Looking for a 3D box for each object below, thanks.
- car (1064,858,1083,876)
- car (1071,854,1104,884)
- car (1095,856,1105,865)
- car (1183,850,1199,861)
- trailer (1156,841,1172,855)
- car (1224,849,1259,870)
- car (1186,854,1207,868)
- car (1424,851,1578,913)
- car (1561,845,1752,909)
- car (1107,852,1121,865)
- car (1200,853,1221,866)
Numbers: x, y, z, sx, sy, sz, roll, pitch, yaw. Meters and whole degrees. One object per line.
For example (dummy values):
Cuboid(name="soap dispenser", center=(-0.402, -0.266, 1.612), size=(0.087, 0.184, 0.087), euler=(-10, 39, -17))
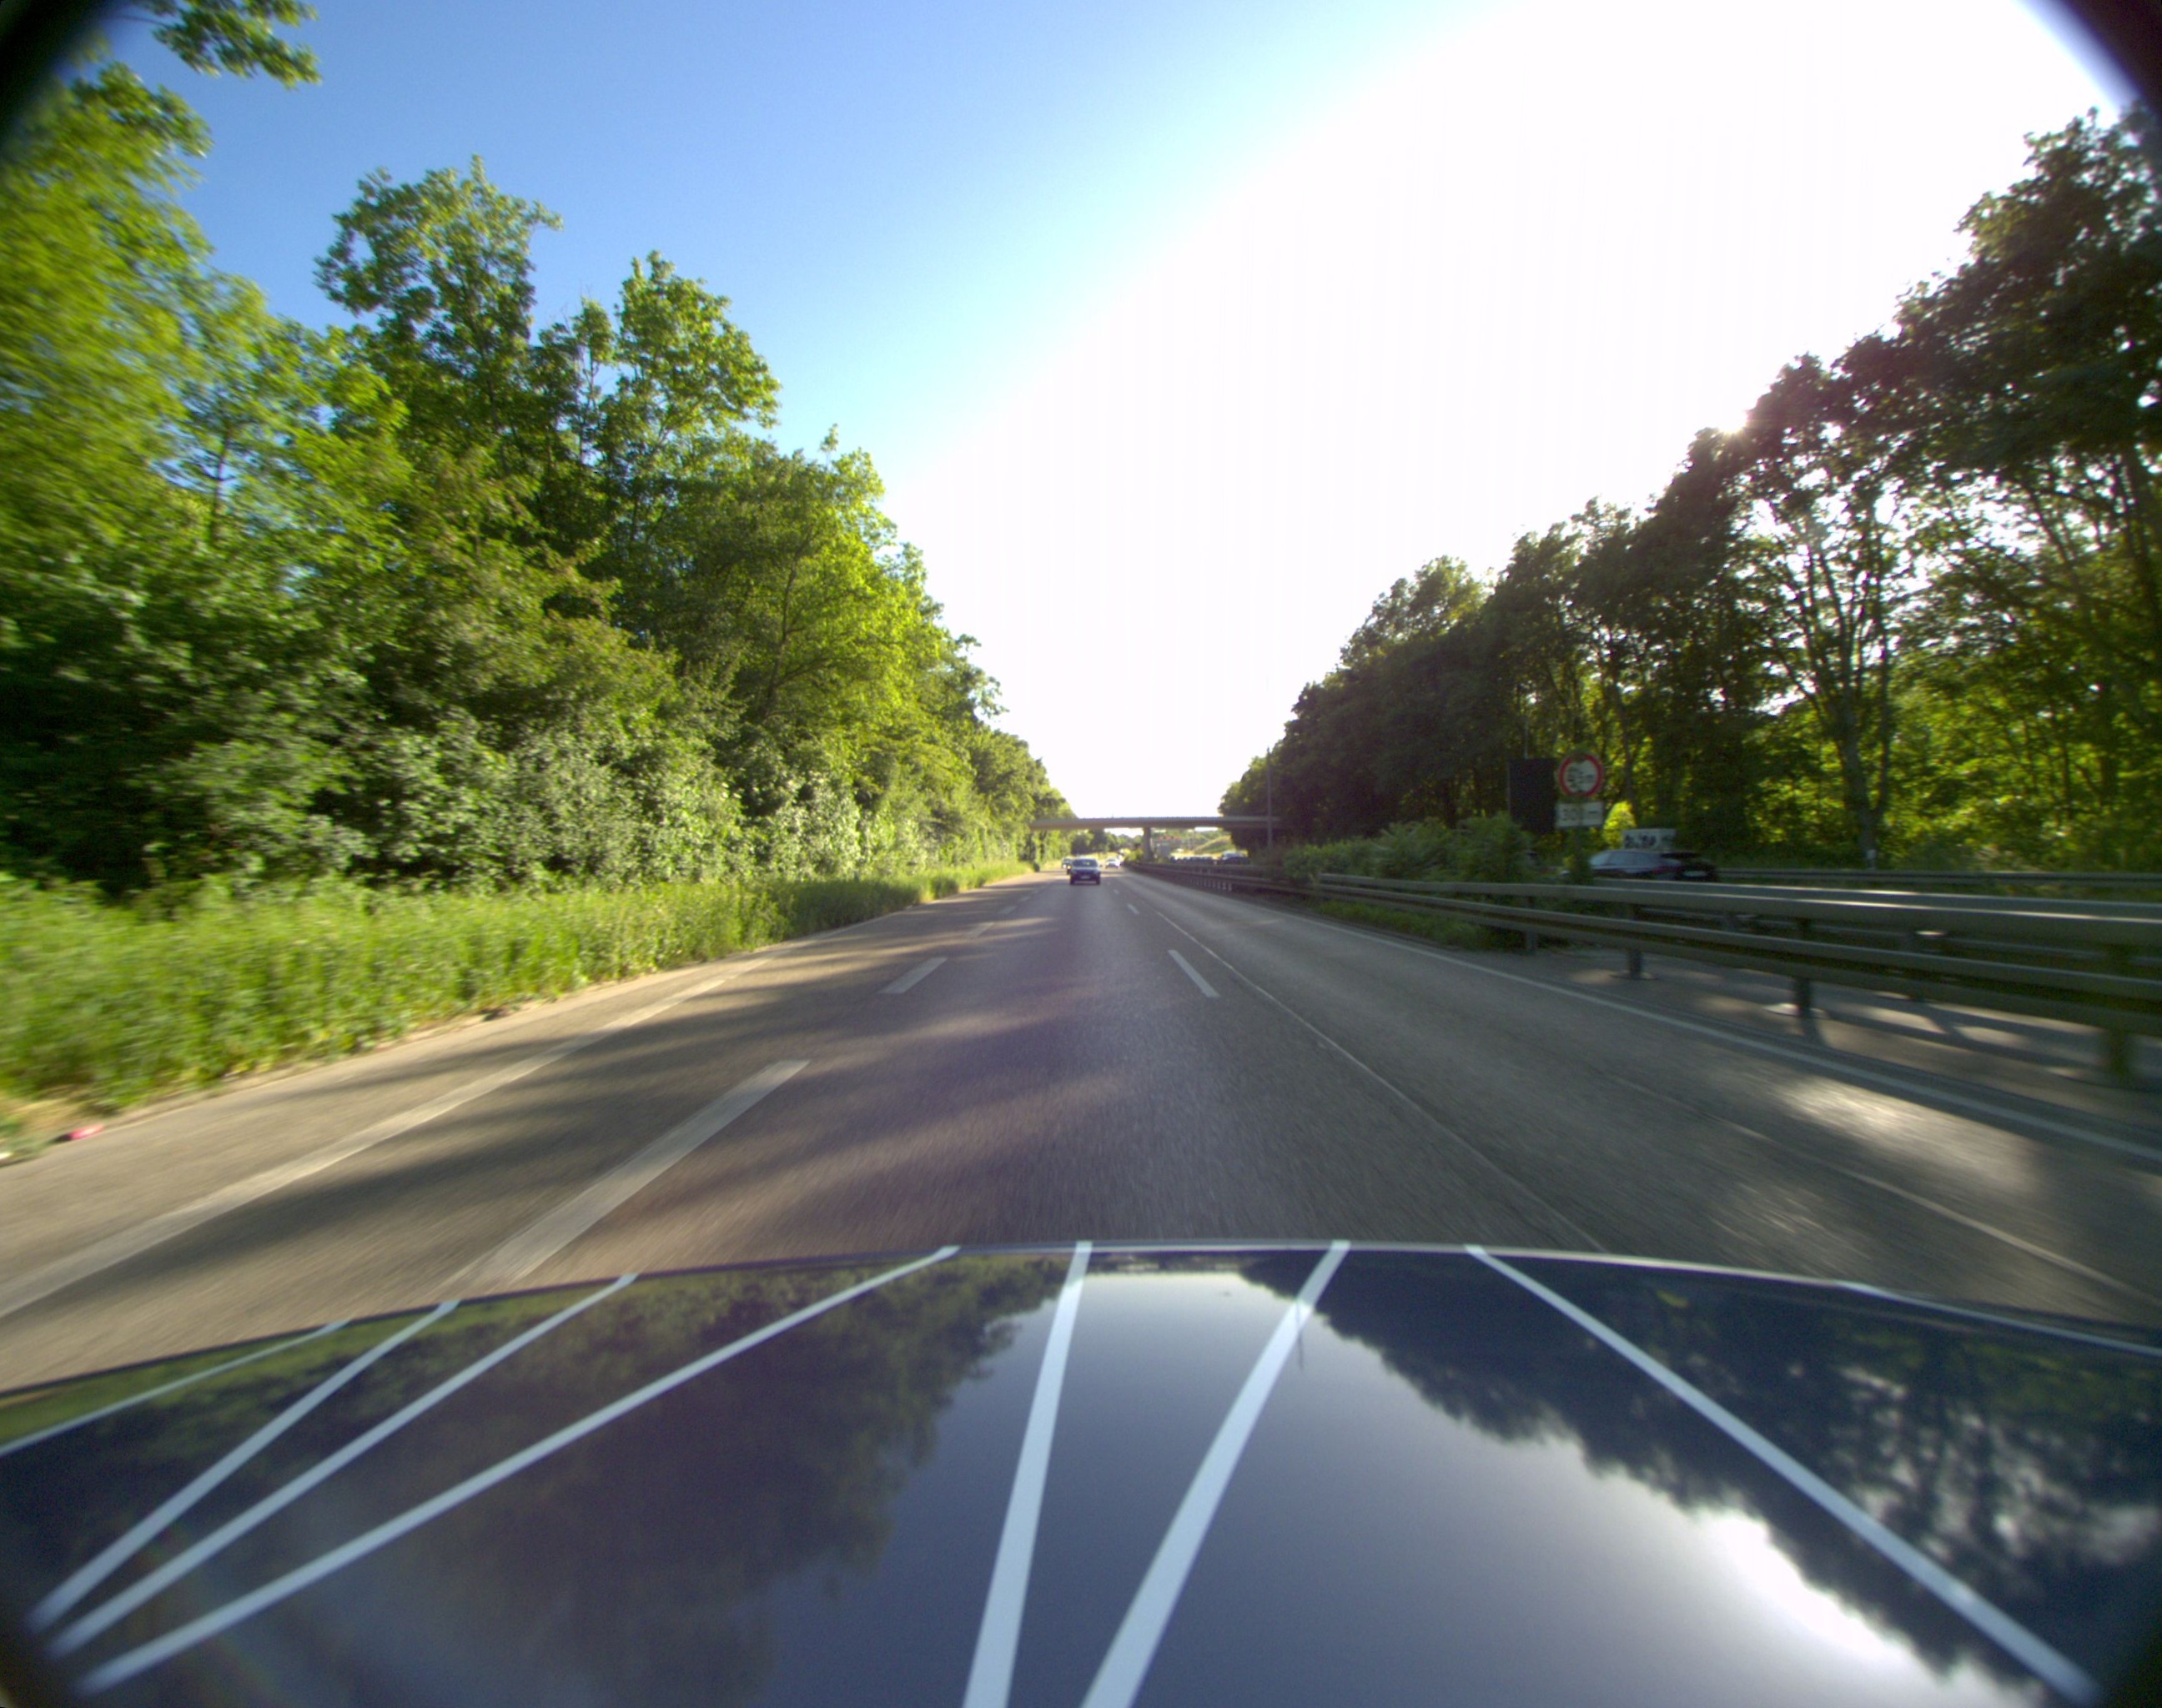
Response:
Cuboid(name="car", center=(-0.637, 1.195, 69.555), size=(1.712, 1.565, 3.422), euler=(0, 0, 0))
Cuboid(name="car", center=(0.401, 0.855, 44.383), size=(1.712, 1.565, 3.423), euler=(-3, 0, 3))
Cuboid(name="car", center=(3.832, 1.295, 153.859), size=(1.998, 1.740, 4.373), euler=(0, 0, 2))
Cuboid(name="car", center=(17.748, 0.277, 122.685), size=(1.998, 1.740, 4.343), euler=(0, 0, 1))
Cuboid(name="trailer", center=(19.694, -1.465, 181.526), size=(2.937, 3.149, 11.916), euler=(0, 0, 2))
Cuboid(name="car", center=(11.893, 0.400, 56.455), size=(1.754, 1.488, 3.943), euler=(0, 0, 1))
Cuboid(name="car", center=(12.586, 0.755, 83.122), size=(1.734, 1.480, 4.397), euler=(-1, 0, 1))
Cuboid(name="car", center=(11.390, 0.696, 20.992), size=(1.998, 1.531, 4.118), euler=(0, 0, 1))
Cuboid(name="car", center=(15.101, 0.548, 20.289), size=(1.998, 1.531, 4.118), euler=(0, 0, 1))
Cuboid(name="car", center=(4.643, 0.675, 108.342), size=(1.998, 1.793, 4.000), euler=(0, 0, 2))
Cuboid(name="car", center=(16.876, 0.685, 99.229), size=(1.998, 1.740, 4.373), euler=(0, 0, 1))
